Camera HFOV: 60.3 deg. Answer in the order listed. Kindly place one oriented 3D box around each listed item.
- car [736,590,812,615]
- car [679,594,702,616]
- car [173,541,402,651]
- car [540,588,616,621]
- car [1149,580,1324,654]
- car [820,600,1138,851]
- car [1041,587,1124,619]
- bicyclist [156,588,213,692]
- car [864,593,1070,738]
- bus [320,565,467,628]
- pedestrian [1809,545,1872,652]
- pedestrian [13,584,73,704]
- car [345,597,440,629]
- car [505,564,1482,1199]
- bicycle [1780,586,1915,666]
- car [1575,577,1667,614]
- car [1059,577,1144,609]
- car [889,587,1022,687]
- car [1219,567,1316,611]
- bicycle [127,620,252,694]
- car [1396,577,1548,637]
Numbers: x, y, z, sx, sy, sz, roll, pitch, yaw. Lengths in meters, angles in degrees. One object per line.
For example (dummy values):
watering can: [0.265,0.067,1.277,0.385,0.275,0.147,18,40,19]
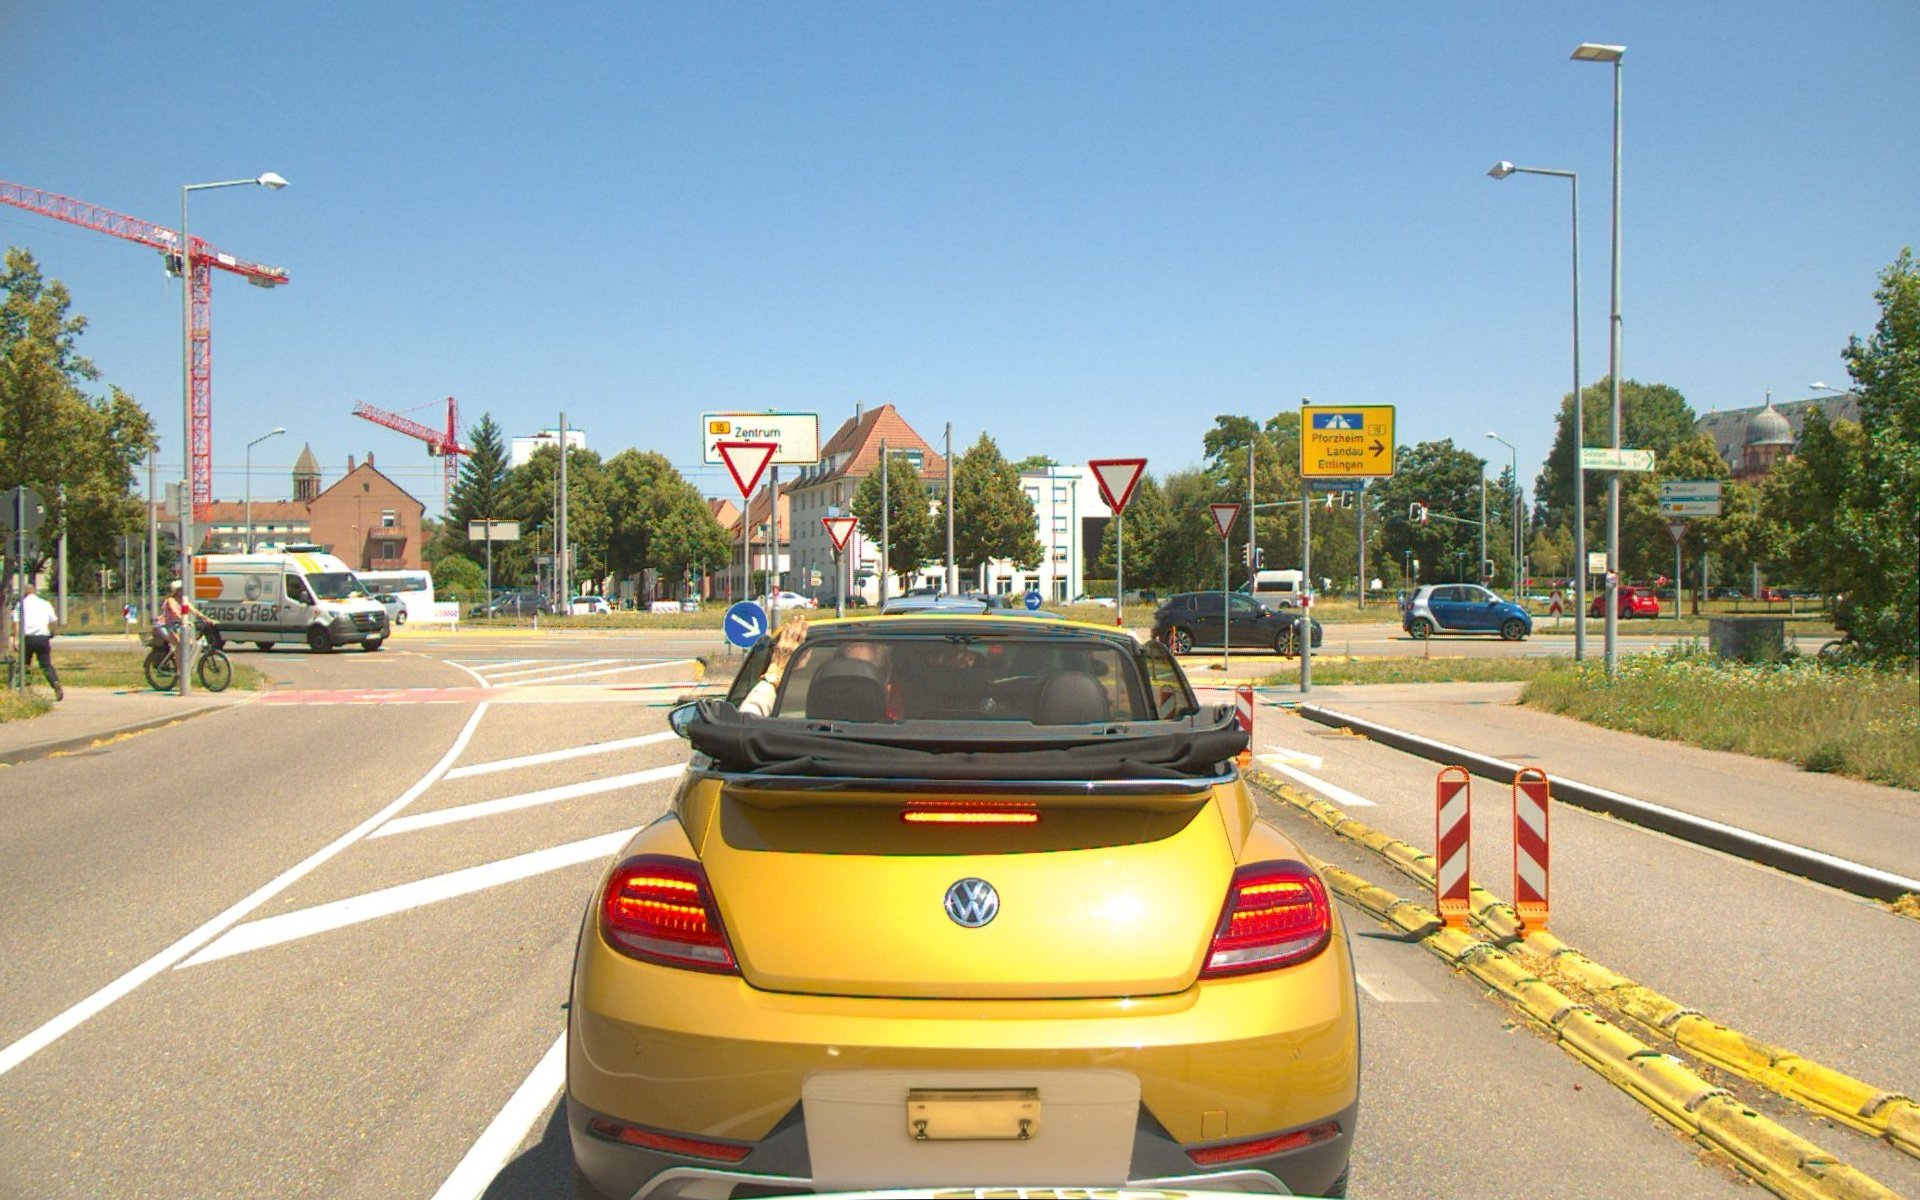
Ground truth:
car: [-11.162,0.156,99.356,4.256,1.395,1.741,1,0,-22]
car: [-23.025,0.462,141.376,1.721,1.825,3.994,1,0,-7]
car: [-18.627,-0.148,45.699,6.730,2.877,1.997,1,0,28]
car: [-22.217,0.269,96.240,3.963,1.803,1.760,1,0,-41]
car: [6.401,0.381,38.587,3.902,1.579,1.729,-1,2,6]
car: [0.079,0.718,11.630,1.814,1.389,4.257,-1,0,-1]
car: [8.070,0.221,108.895,5.198,1.996,1.995,1,0,15]
bicyclist: [-13.467,0.698,28.734,0.656,1.783,0.593,-1,-1,17]
car: [0.042,0.662,18.577,2.023,1.406,4.257,1,0,-1]
bus: [-30.672,-0.156,89.705,7.202,3.228,2.230,1,-1,-38]
pedestrian: [14.420,-0.022,27.089,0.717,1.721,0.575,-1,-1,9]
pedestrian: [-14.133,0.662,25.483,0.632,1.817,0.955,1,-1,-39]
car: [-26.524,0.601,77.470,1.693,1.427,4.267,1,0,26]
car: [0.033,0.712,5.080,1.729,1.507,4.257,1,0,-1]
bicycle: [14.509,0.423,27.068,1.803,1.253,0.614,-2,-1,10]
car: [31.464,-0.209,78.863,1.863,1.683,4.329,1,0,-15]
car: [9.282,-0.441,108.579,5.199,1.996,1.995,1,0,18]
car: [-0.095,0.552,27.610,2.023,1.506,4.542,-1,0,-1]
car: [17.542,-0.644,94.449,5.234,2.439,1.982,1,0,43]
bicycle: [-13.376,0.987,28.710,2.047,1.242,0.634,-1,0,16]
car: [14.138,0.192,45.868,3.902,1.579,1.729,1,0,13]
